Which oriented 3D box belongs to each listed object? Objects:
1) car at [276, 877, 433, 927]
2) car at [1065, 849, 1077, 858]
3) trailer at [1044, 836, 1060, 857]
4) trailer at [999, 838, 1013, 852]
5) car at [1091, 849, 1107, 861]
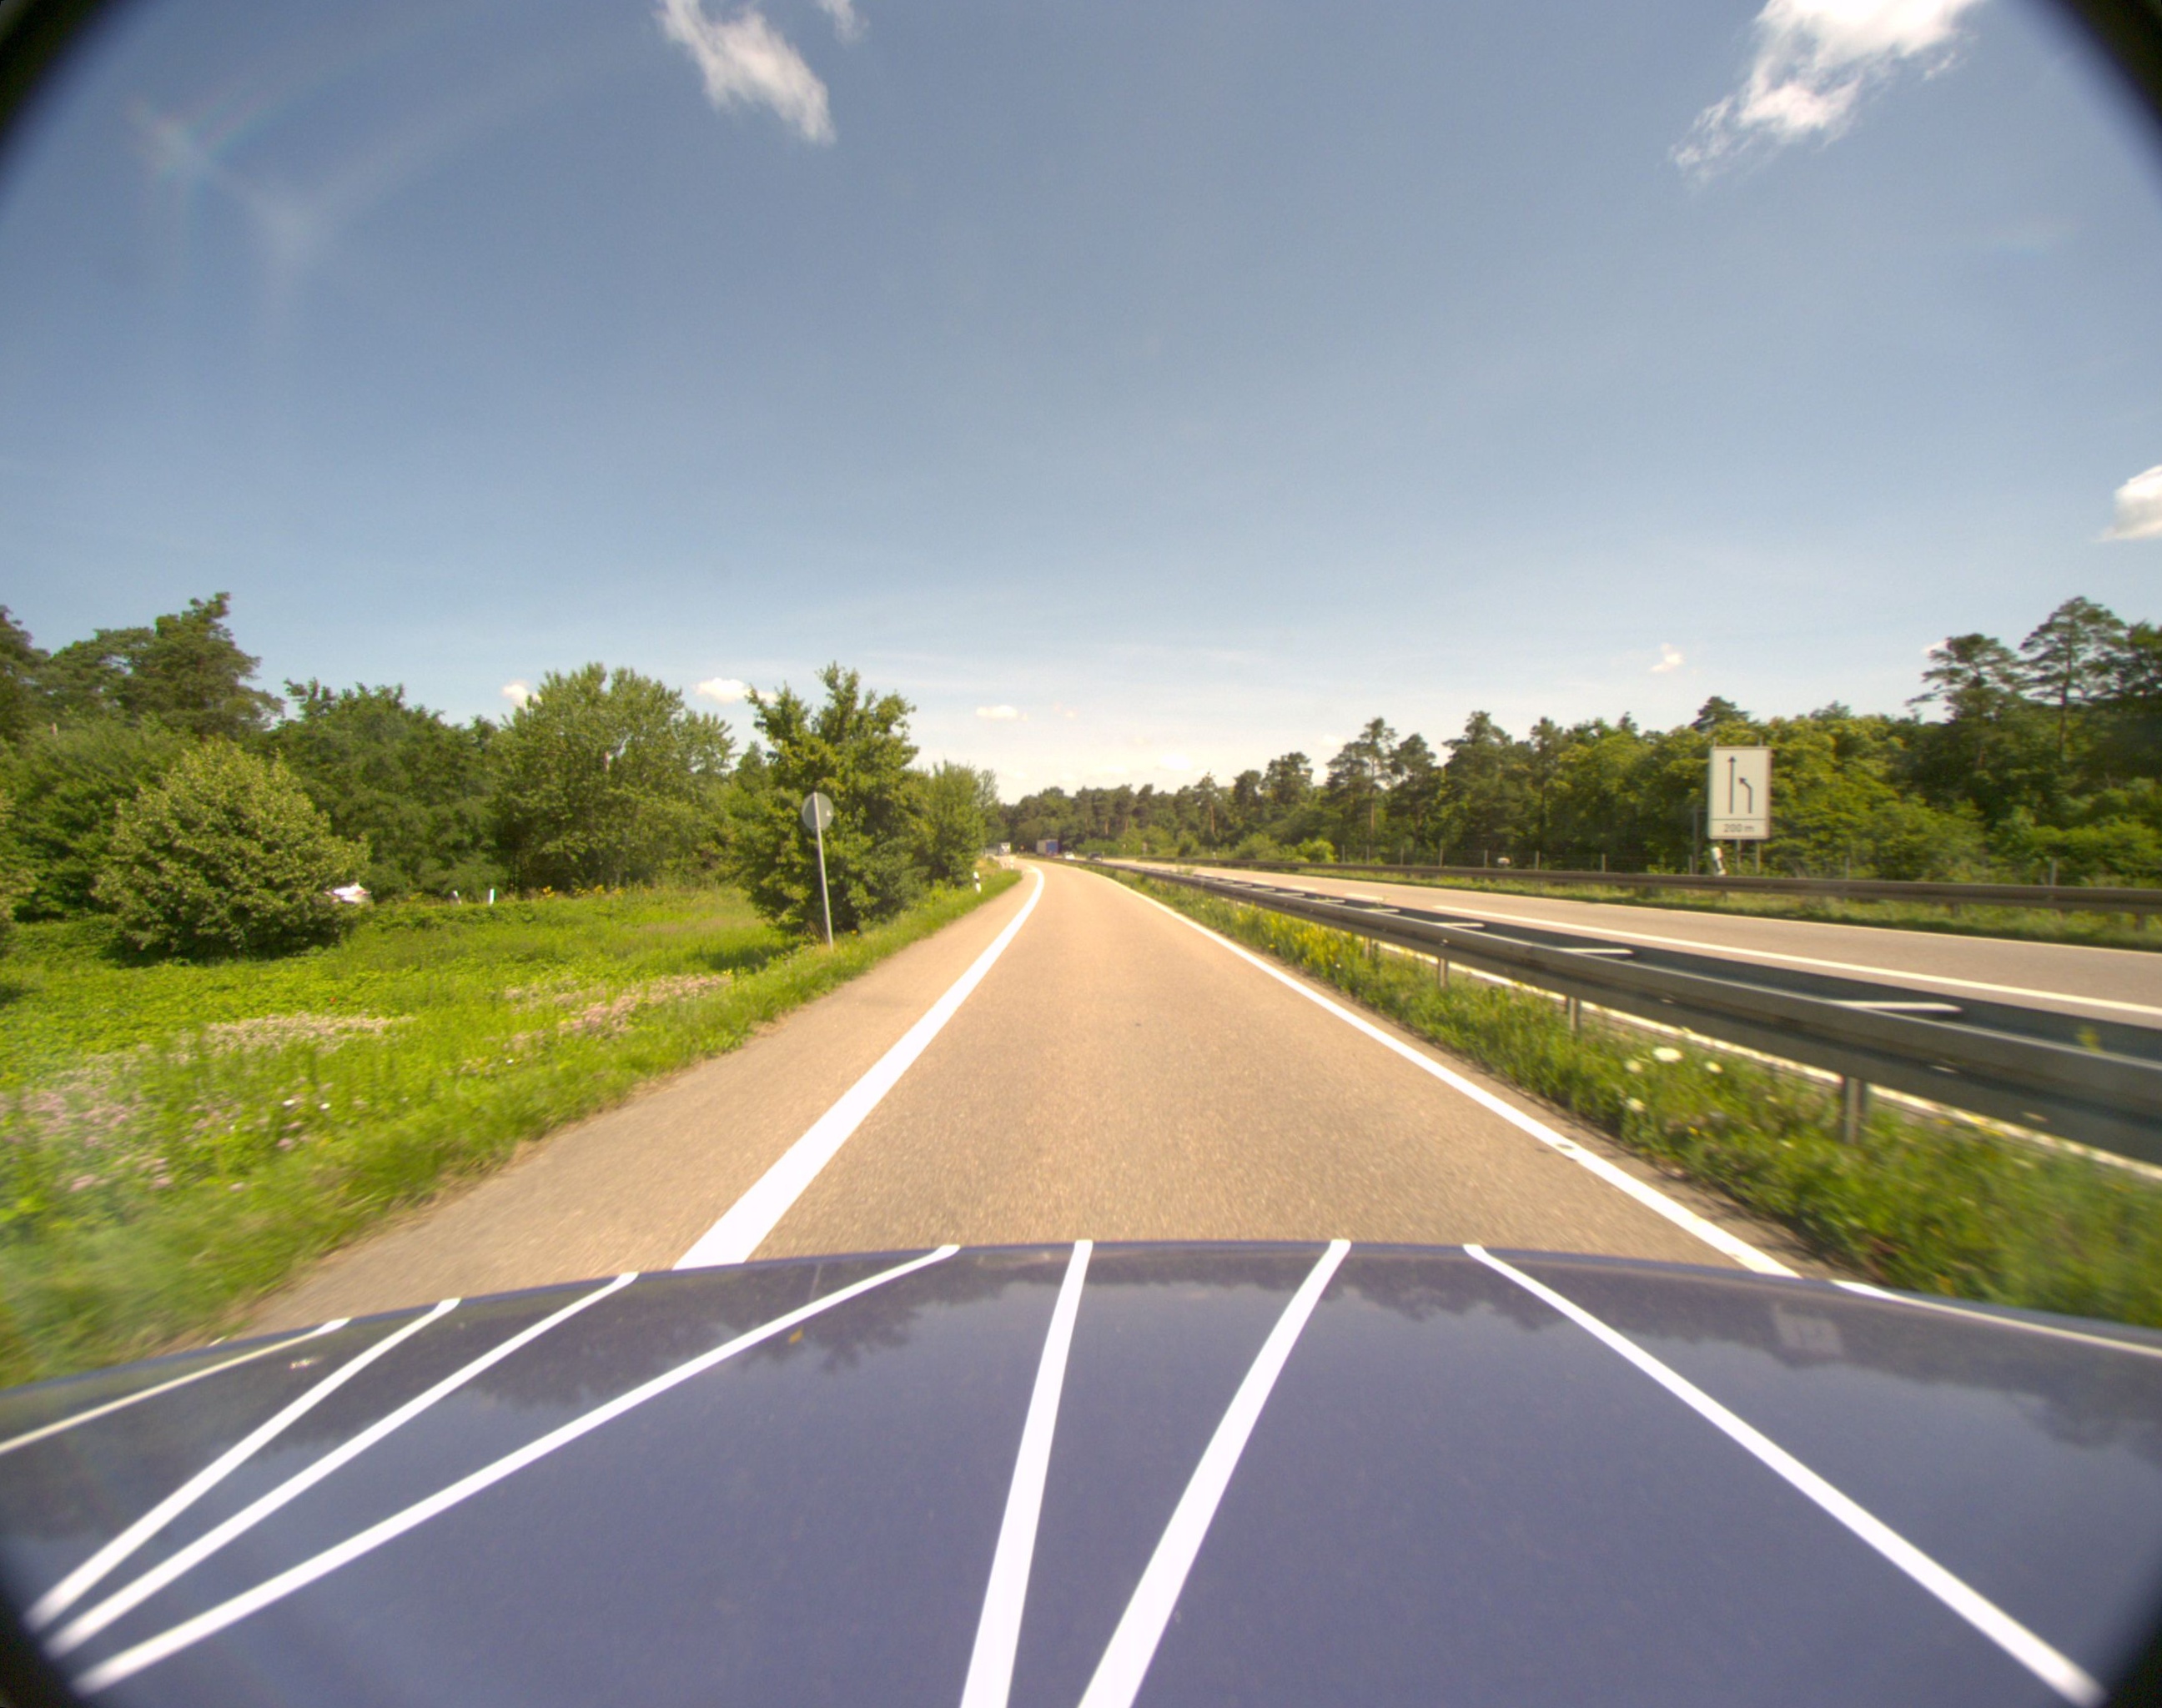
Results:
[{"bbox_3d":[-31.236,2.022,32.799,1.895,1.656,4.674,-3,1,42],"label":"car"},{"bbox_3d":[-1.704,-0.044,132.666,1.799,1.436,4.604,-2,1,-4],"label":"car"},{"bbox_3d":[-6.353,-1.622,165.023,2.754,4.149,14.574,-2,1,-5],"label":"trailer"},{"bbox_3d":[-24.107,-2.893,243.460,2.677,4.164,14.047,-2,1,-11],"label":"trailer"},{"bbox_3d":[2.487,0.106,107.185,1.760,1.492,4.571,-3,1,-5],"label":"car"}]
